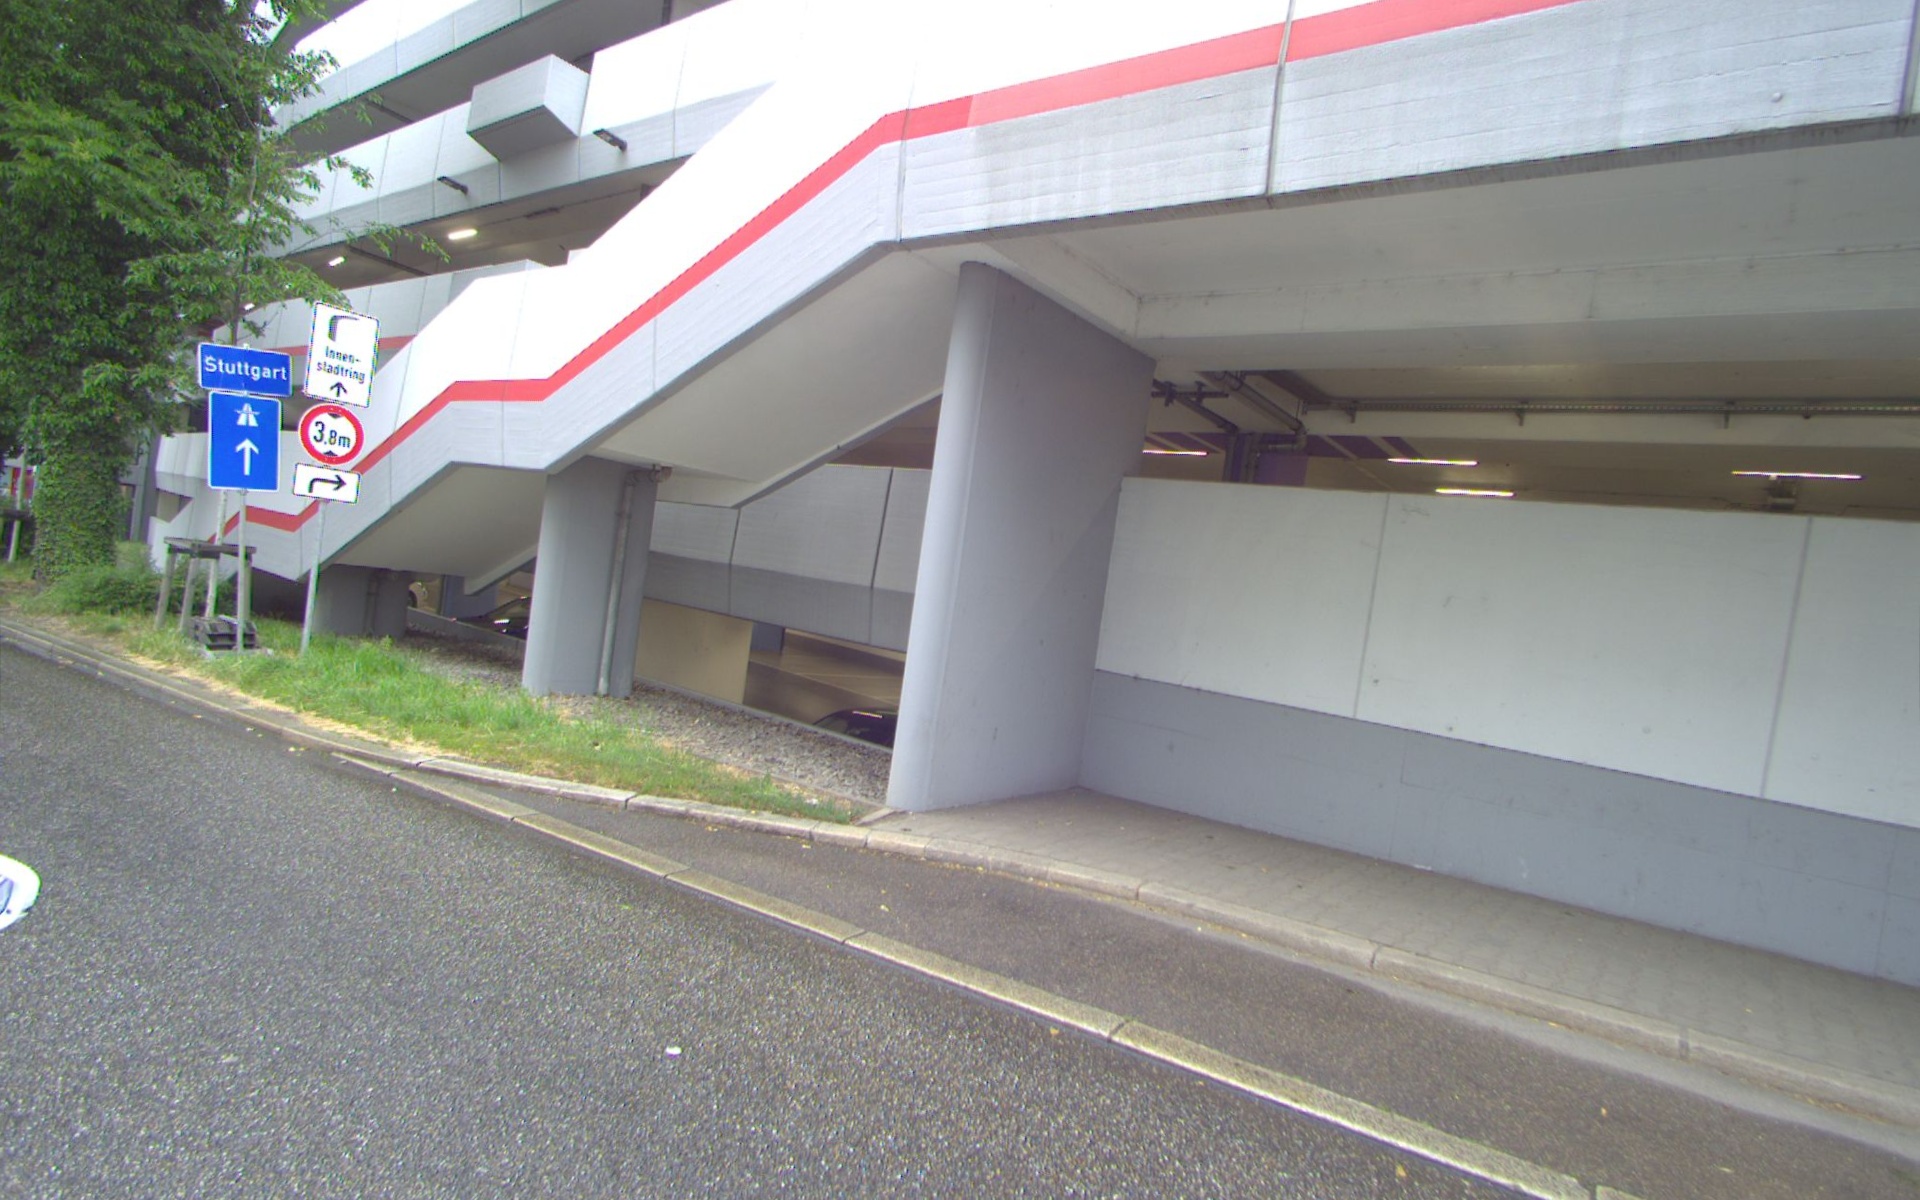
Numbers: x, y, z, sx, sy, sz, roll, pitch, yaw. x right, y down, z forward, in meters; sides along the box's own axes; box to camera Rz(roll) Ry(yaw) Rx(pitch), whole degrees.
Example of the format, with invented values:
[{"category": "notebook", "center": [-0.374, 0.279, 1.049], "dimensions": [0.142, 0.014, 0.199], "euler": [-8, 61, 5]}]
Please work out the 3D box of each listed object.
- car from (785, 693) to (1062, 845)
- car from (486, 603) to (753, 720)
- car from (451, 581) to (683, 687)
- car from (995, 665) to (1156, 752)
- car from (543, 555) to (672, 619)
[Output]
[{"category": "car", "center": [-0.400, 2.358, 14.756], "dimensions": [1.810, 1.559, 3.931], "euler": [11, 2, 37]}, {"category": "car", "center": [-5.819, 1.132, 17.615], "dimensions": [1.810, 1.643, 3.988], "euler": [7, -1, 36]}, {"category": "car", "center": [-7.623, 0.726, 19.798], "dimensions": [1.782, 1.559, 3.734], "euler": [11, 2, 37]}, {"category": "car", "center": [2.803, 2.552, 23.744], "dimensions": [1.810, 1.559, 3.988], "euler": [11, 2, 37]}, {"category": "car", "center": [-13.009, -0.464, 37.257], "dimensions": [1.792, 1.804, 3.979], "euler": [7, 0, 44]}]
